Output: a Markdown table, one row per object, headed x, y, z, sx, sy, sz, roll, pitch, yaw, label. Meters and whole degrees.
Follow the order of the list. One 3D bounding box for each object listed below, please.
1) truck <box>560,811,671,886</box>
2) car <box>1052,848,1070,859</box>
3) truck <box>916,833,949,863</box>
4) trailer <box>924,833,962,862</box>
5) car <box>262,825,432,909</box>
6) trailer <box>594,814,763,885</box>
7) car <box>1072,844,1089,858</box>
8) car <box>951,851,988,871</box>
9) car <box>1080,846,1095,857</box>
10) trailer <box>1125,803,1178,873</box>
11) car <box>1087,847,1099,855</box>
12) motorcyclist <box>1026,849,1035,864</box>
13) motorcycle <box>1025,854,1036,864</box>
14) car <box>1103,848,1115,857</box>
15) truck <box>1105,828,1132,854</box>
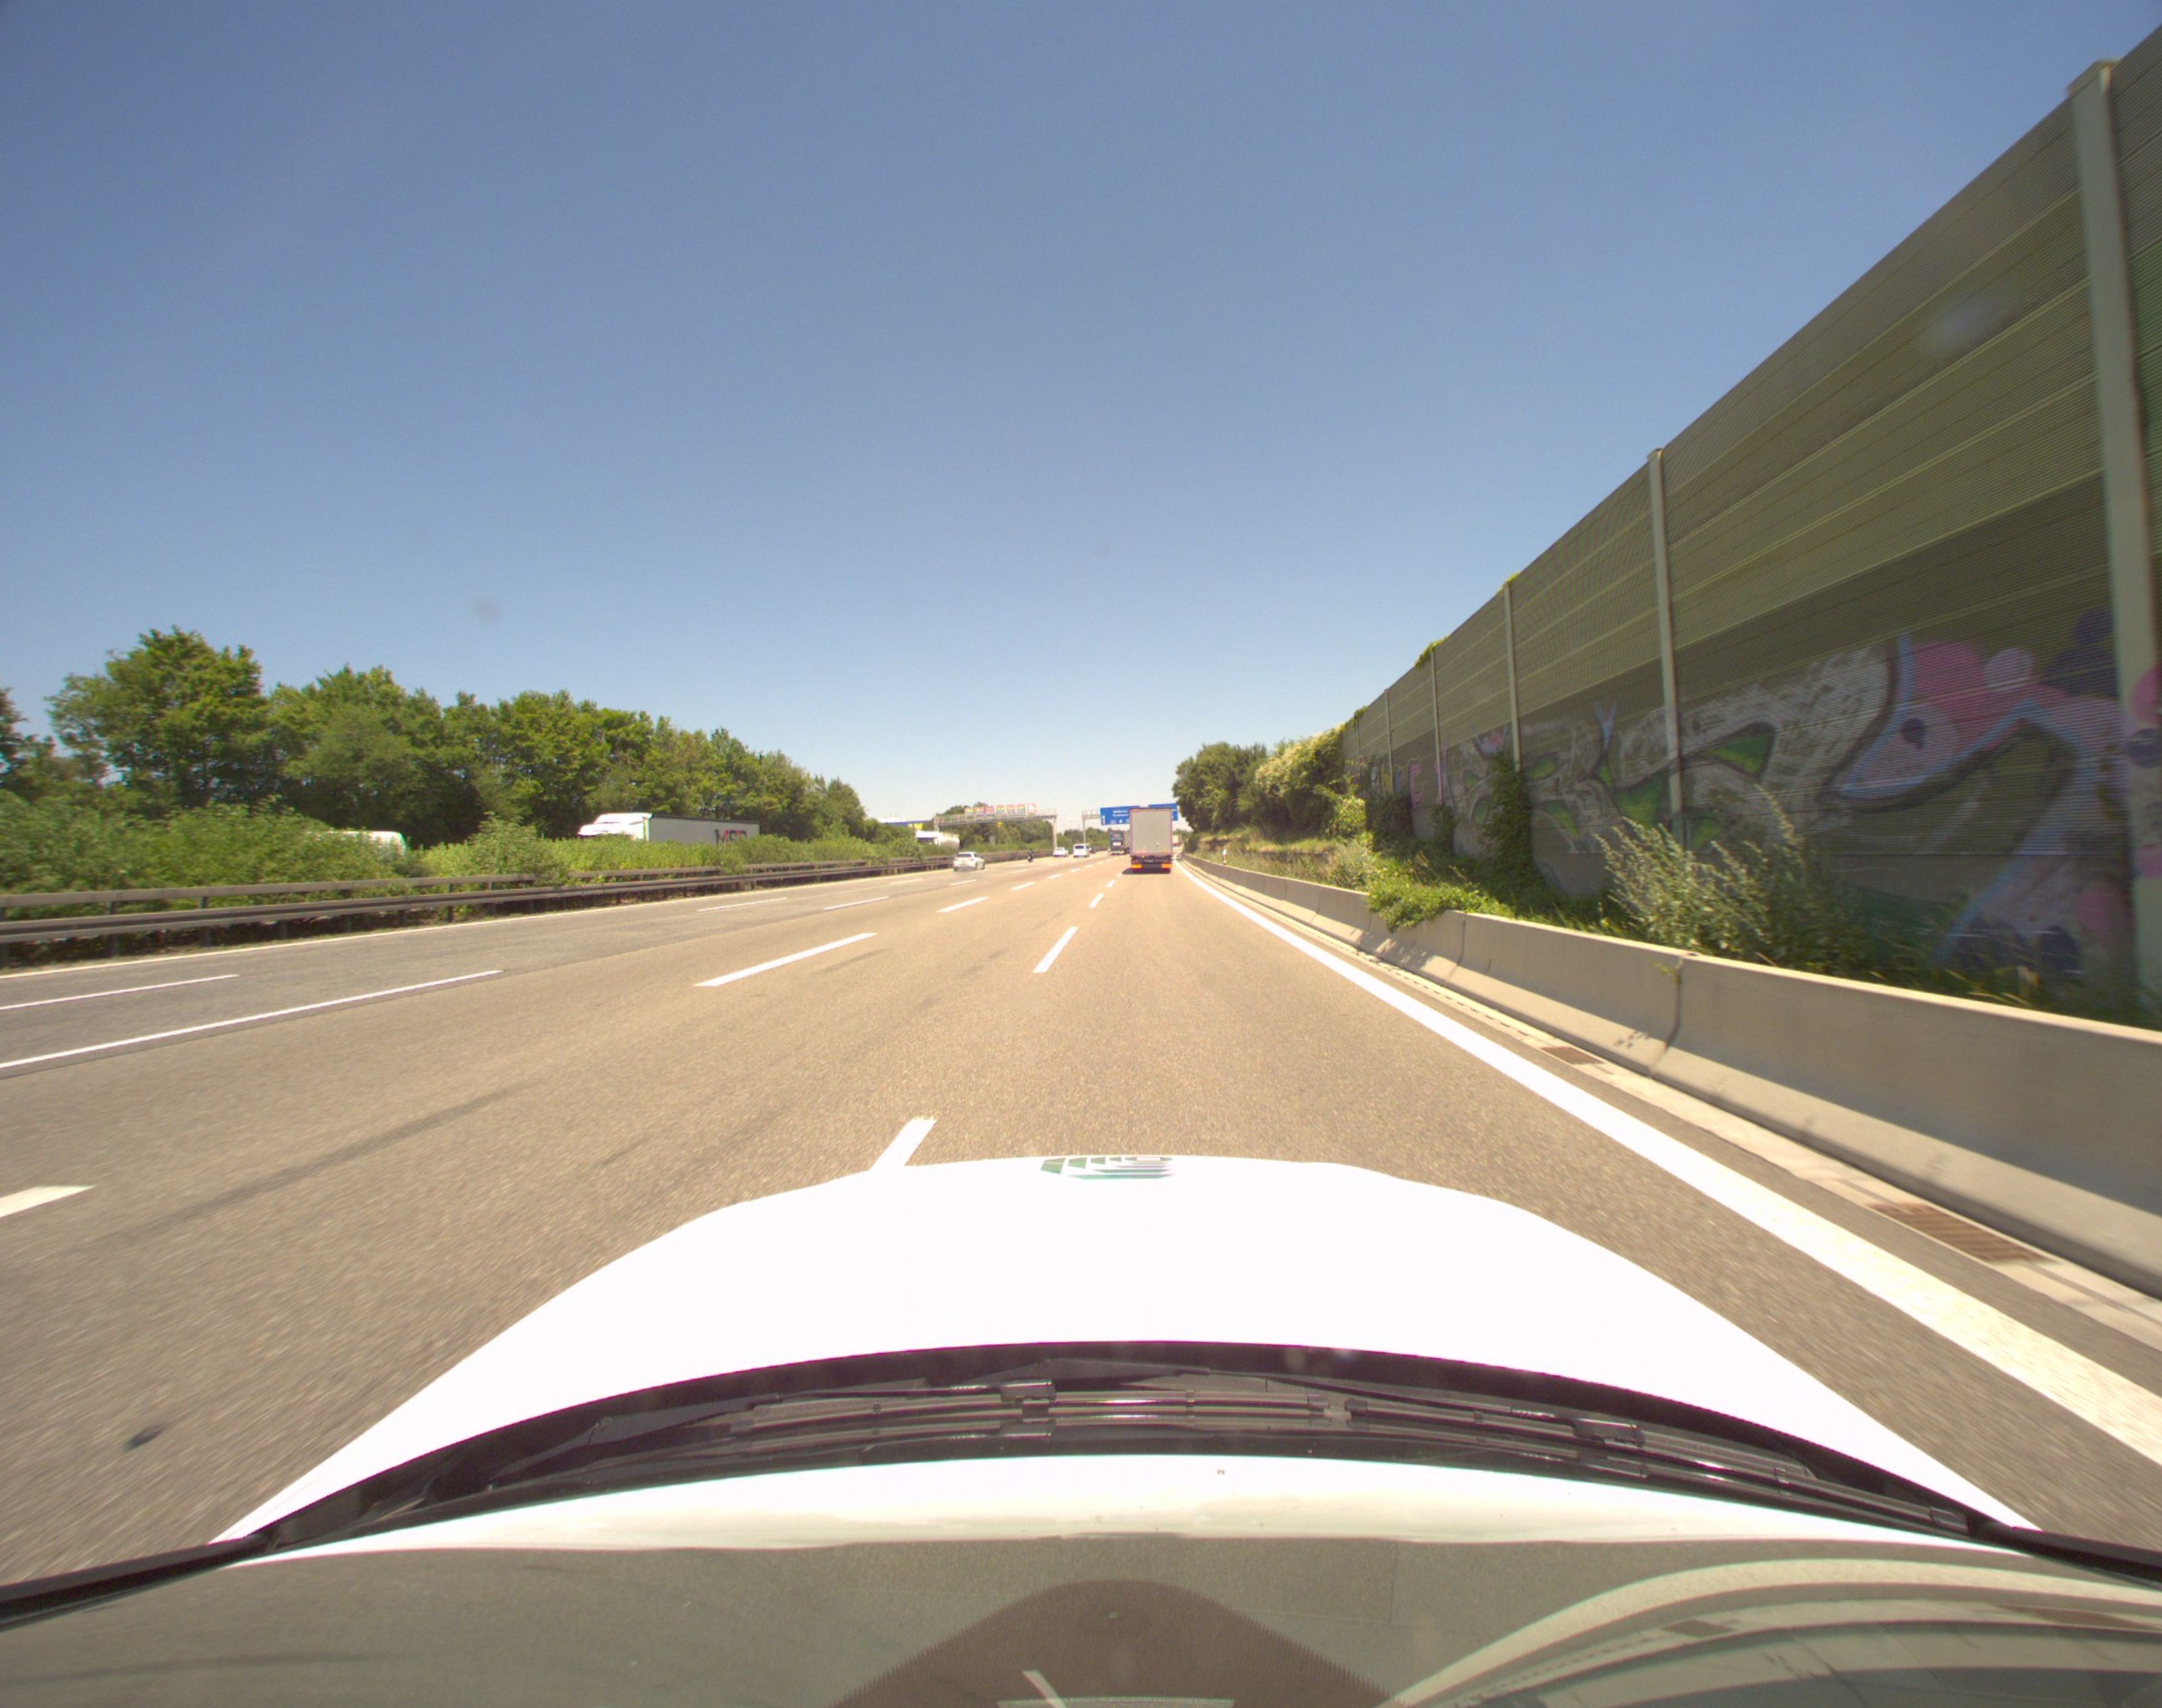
| x | y | z | sx | sy | sz | roll | pitch | yaw | label |
| --- | --- | --- | --- | --- | --- | --- | --- | --- | --- |
| -26.726 | -0.312 | 47.034 | 3.317 | 4.089 | 4.834 | -1 | 0 | 4 | truck |
| -2.933 | -0.032 | 120.876 | 1.866 | 1.440 | 5.136 | -1 | -1 | 7 | car |
| -19.911 | -0.861 | 109.506 | 2.682 | 3.888 | 5.755 | -1 | 0 | 6 | truck |
| -19.341 | -0.914 | 114.904 | 2.676 | 3.888 | 9.750 | -1 | 0 | 6 | trailer |
| -25.160 | 0.414 | 28.151 | 1.833 | 2.646 | 4.320 | -1 | 0 | 2 | car |
| -26.173 | -0.285 | 54.371 | 3.376 | 4.089 | 13.944 | -1 | 0 | 4 | trailer |
| -0.040 | -0.388 | 116.510 | 1.920 | 1.851 | 4.701 | -2 | 0 | 7 | car |
| -8.655 | 0.542 | 63.692 | 1.773 | 1.440 | 4.676 | -1 | 0 | 5 | car |
| 1.134 | -0.376 | 137.906 | 1.866 | 1.806 | 5.136 | -1 | -1 | 7 | car |
| 4.653 | -0.982 | 53.857 | 2.914 | 4.015 | 12.054 | -2 | 0 | 5 | trailer |
| 2.261 | -0.516 | 154.619 | 1.747 | 1.409 | 5.048 | -2 | -2 | 7 | car |
| -5.705 | 0.302 | 92.088 | 0.889 | 1.597 | 1.301 | -2 | -1 | 5 | motorcyclist |
| -5.705 | 0.554 | 92.118 | 0.908 | 1.089 | 2.853 | -2 | -1 | 5 | motorcycle |
| 5.711 | -0.306 | 166.041 | 1.894 | 1.851 | 4.641 | -2 | 0 | 7 | car |
| 6.656 | -2.232 | 142.073 | 3.727 | 4.270 | 14.524 | -1 | 1 | 7 | truck |
